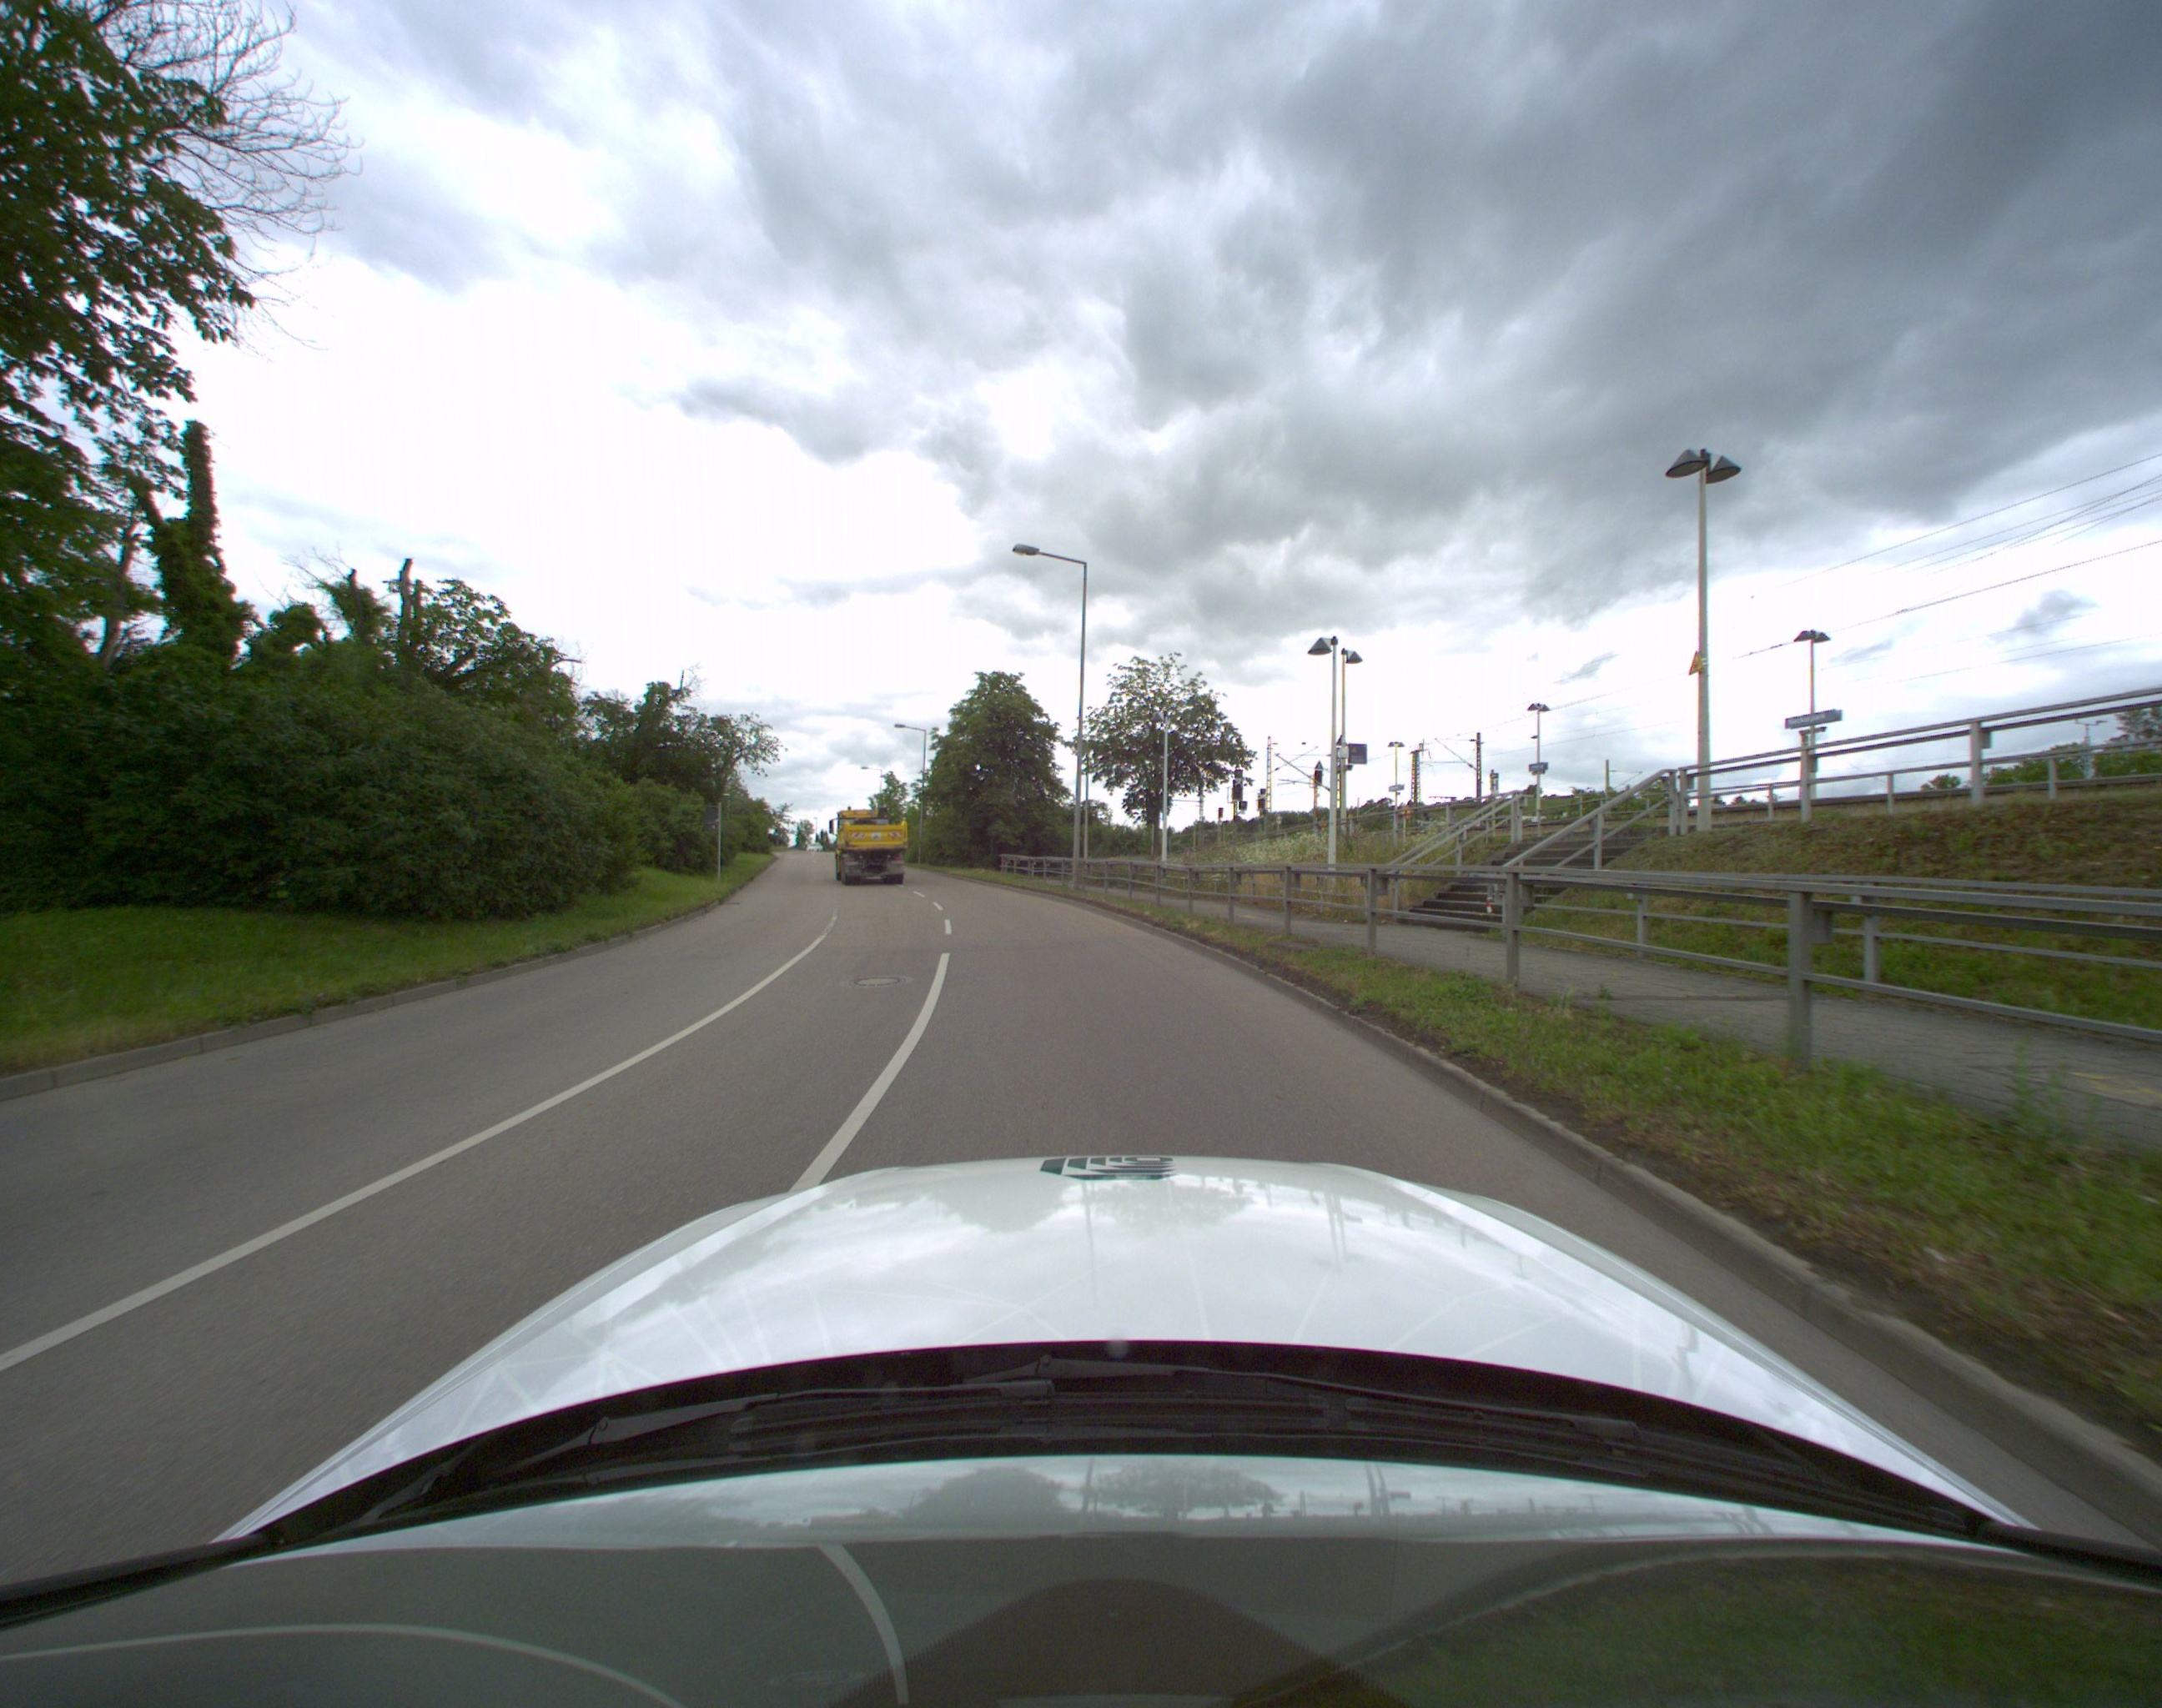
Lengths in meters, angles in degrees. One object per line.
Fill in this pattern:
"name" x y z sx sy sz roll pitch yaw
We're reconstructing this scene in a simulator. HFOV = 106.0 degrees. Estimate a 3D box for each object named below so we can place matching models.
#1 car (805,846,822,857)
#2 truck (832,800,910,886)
"car" -42.767 -0.421 130.250 1.994 1.640 3.986 1 0 -10
"truck" -9.780 -0.516 37.321 2.774 3.483 8.076 -1 1 -19
